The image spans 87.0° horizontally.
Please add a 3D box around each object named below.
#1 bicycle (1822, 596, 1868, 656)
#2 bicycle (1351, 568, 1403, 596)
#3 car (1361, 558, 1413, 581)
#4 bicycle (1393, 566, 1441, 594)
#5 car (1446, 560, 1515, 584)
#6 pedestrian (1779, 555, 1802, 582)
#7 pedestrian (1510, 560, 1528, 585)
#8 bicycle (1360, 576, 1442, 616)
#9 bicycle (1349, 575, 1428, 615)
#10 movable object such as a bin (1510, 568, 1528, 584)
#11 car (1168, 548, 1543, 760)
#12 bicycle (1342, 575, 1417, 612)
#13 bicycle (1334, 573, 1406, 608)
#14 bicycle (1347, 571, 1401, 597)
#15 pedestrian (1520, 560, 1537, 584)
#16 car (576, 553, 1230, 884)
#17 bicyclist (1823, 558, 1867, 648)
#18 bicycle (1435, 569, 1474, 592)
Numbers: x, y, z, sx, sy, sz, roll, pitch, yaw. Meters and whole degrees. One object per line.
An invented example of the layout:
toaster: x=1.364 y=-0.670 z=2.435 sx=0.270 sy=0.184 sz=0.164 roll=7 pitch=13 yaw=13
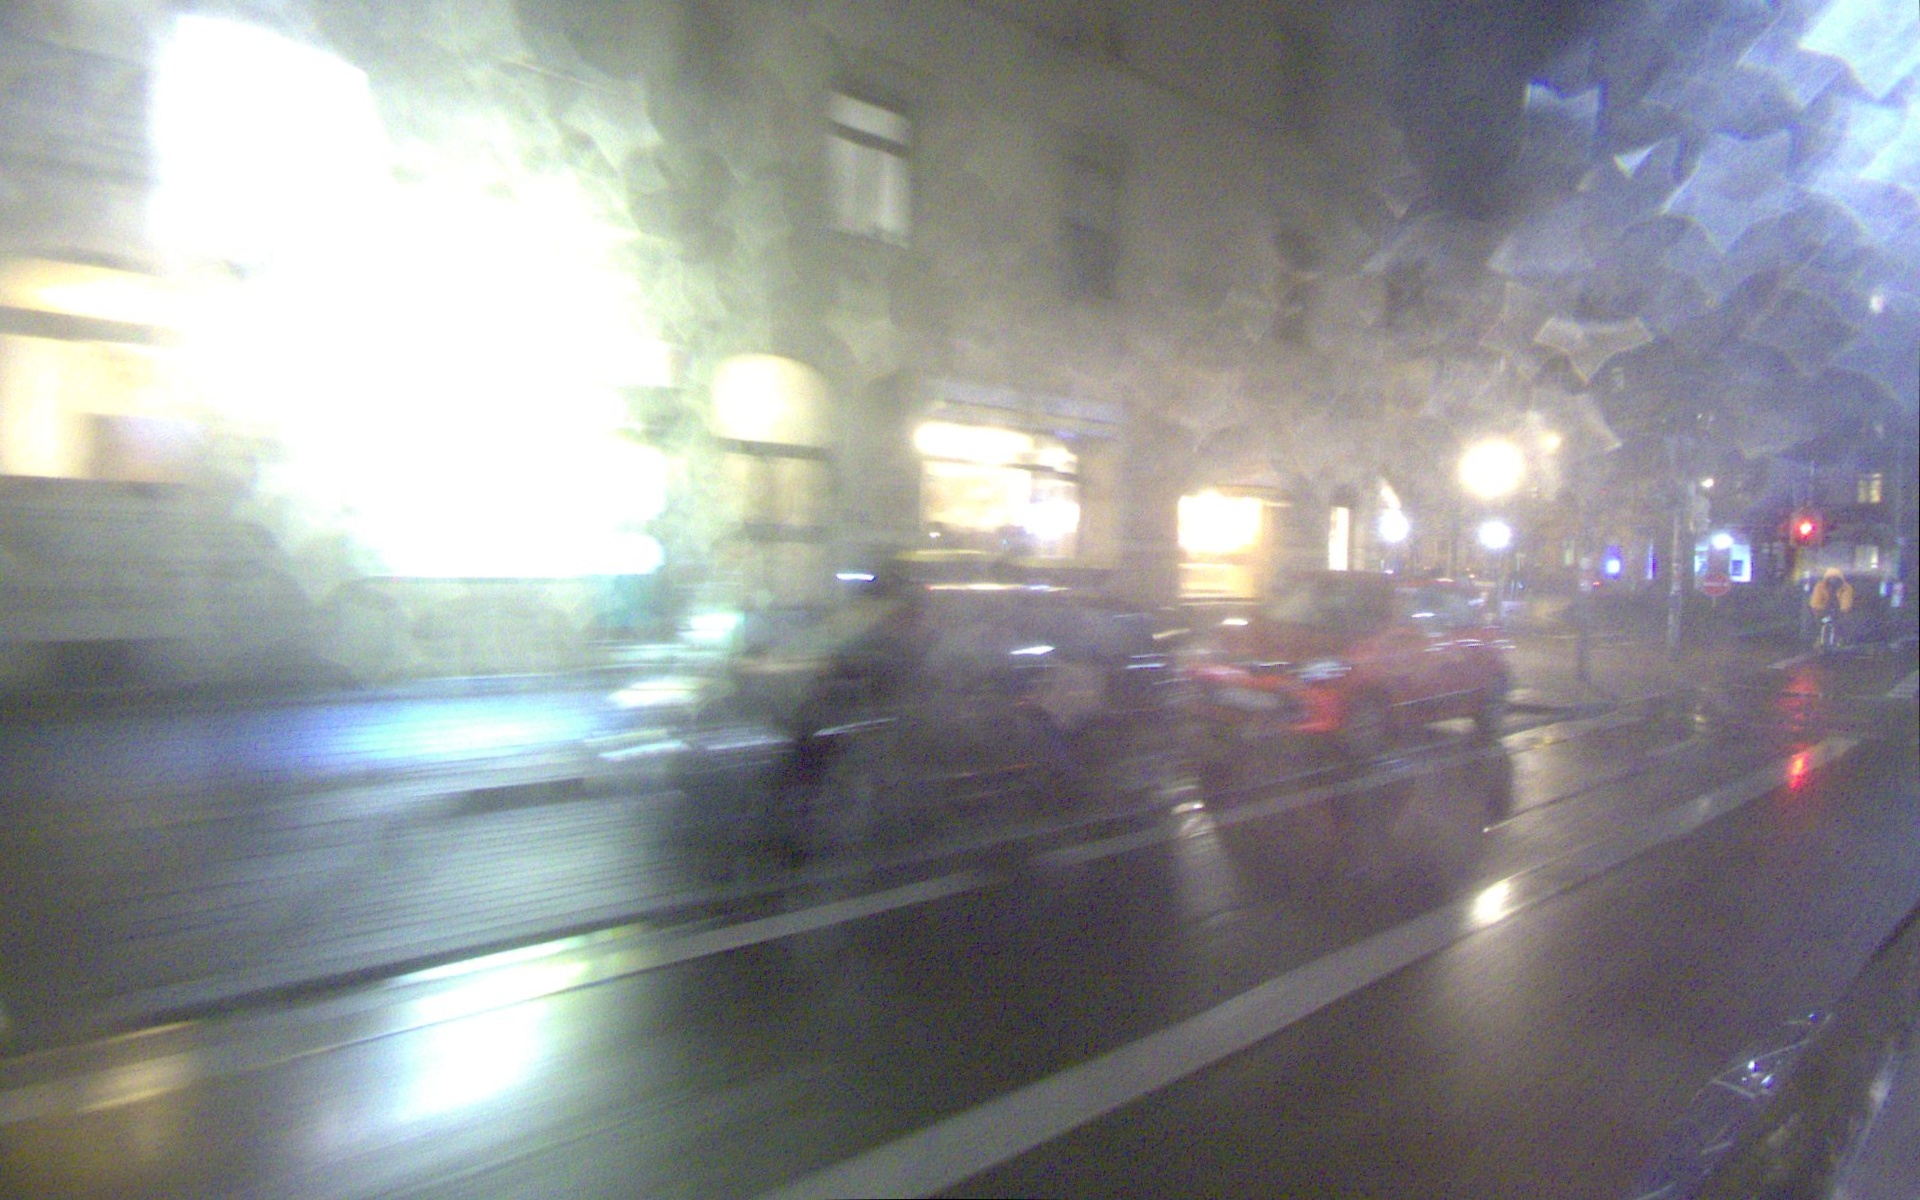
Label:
bicycle: x=15.807 y=0.445 z=18.094 sx=0.569 sy=0.981 sz=1.755 roll=0 pitch=1 yaw=40
bicycle: x=17.890 y=-0.773 z=43.416 sx=1.924 sy=1.128 sz=0.720 roll=4 pitch=4 yaw=40
car: x=34.486 y=-2.495 z=81.859 sx=1.842 sy=1.724 sz=4.296 roll=-1 pitch=2 yaw=-11
bicycle: x=21.209 y=-0.946 z=46.977 sx=1.867 sy=1.232 sz=0.720 roll=4 pitch=4 yaw=40
car: x=36.715 y=-1.989 z=71.510 sx=1.850 sy=1.613 sz=4.507 roll=-1 pitch=3 yaw=-13
pedestrian: x=46.700 y=-1.776 z=56.918 sx=0.756 sy=1.512 sz=0.632 roll=-1 pitch=1 yaw=13
pedestrian: x=38.724 y=-1.908 z=70.139 sx=0.621 sy=1.658 sz=0.876 roll=-1 pitch=1 yaw=-11
bicycle: x=12.123 y=-0.113 z=27.881 sx=1.944 sy=1.018 sz=0.640 roll=2 pitch=3 yaw=12
bicycle: x=12.146 y=-0.144 z=28.734 sx=1.944 sy=1.047 sz=0.640 roll=2 pitch=3 yaw=12
movable object such as a bin: x=39.259 y=-1.670 z=71.047 sx=0.621 sy=1.129 sz=0.925 roll=-1 pitch=1 yaw=-11
car: x=3.826 y=0.370 z=9.612 sx=3.515 sy=1.542 sz=1.653 roll=-1 pitch=7 yaw=-38
bicycle: x=12.379 y=-0.199 z=29.913 sx=1.944 sy=1.018 sz=0.640 roll=2 pitch=3 yaw=12
bicycle: x=12.686 y=-0.304 z=31.334 sx=1.944 sy=1.018 sz=0.640 roll=2 pitch=3 yaw=12
bicycle: x=17.233 y=-0.671 z=42.171 sx=1.966 sy=1.018 sz=0.678 roll=4 pitch=4 yaw=40
pedestrian: x=39.428 y=-1.919 z=70.234 sx=0.621 sy=1.658 sz=0.844 roll=-1 pitch=1 yaw=-11
car: x=-0.219 y=0.514 z=6.630 sx=3.980 sy=1.458 sz=1.651 roll=-1 pitch=7 yaw=-37
bicyclist: x=15.779 y=0.043 z=18.054 sx=0.570 sy=1.567 sz=0.804 roll=0 pitch=1 yaw=40
bicycle: x=24.147 y=-0.964 z=49.428 sx=1.617 sy=1.094 sz=0.557 roll=2 pitch=5 yaw=39
